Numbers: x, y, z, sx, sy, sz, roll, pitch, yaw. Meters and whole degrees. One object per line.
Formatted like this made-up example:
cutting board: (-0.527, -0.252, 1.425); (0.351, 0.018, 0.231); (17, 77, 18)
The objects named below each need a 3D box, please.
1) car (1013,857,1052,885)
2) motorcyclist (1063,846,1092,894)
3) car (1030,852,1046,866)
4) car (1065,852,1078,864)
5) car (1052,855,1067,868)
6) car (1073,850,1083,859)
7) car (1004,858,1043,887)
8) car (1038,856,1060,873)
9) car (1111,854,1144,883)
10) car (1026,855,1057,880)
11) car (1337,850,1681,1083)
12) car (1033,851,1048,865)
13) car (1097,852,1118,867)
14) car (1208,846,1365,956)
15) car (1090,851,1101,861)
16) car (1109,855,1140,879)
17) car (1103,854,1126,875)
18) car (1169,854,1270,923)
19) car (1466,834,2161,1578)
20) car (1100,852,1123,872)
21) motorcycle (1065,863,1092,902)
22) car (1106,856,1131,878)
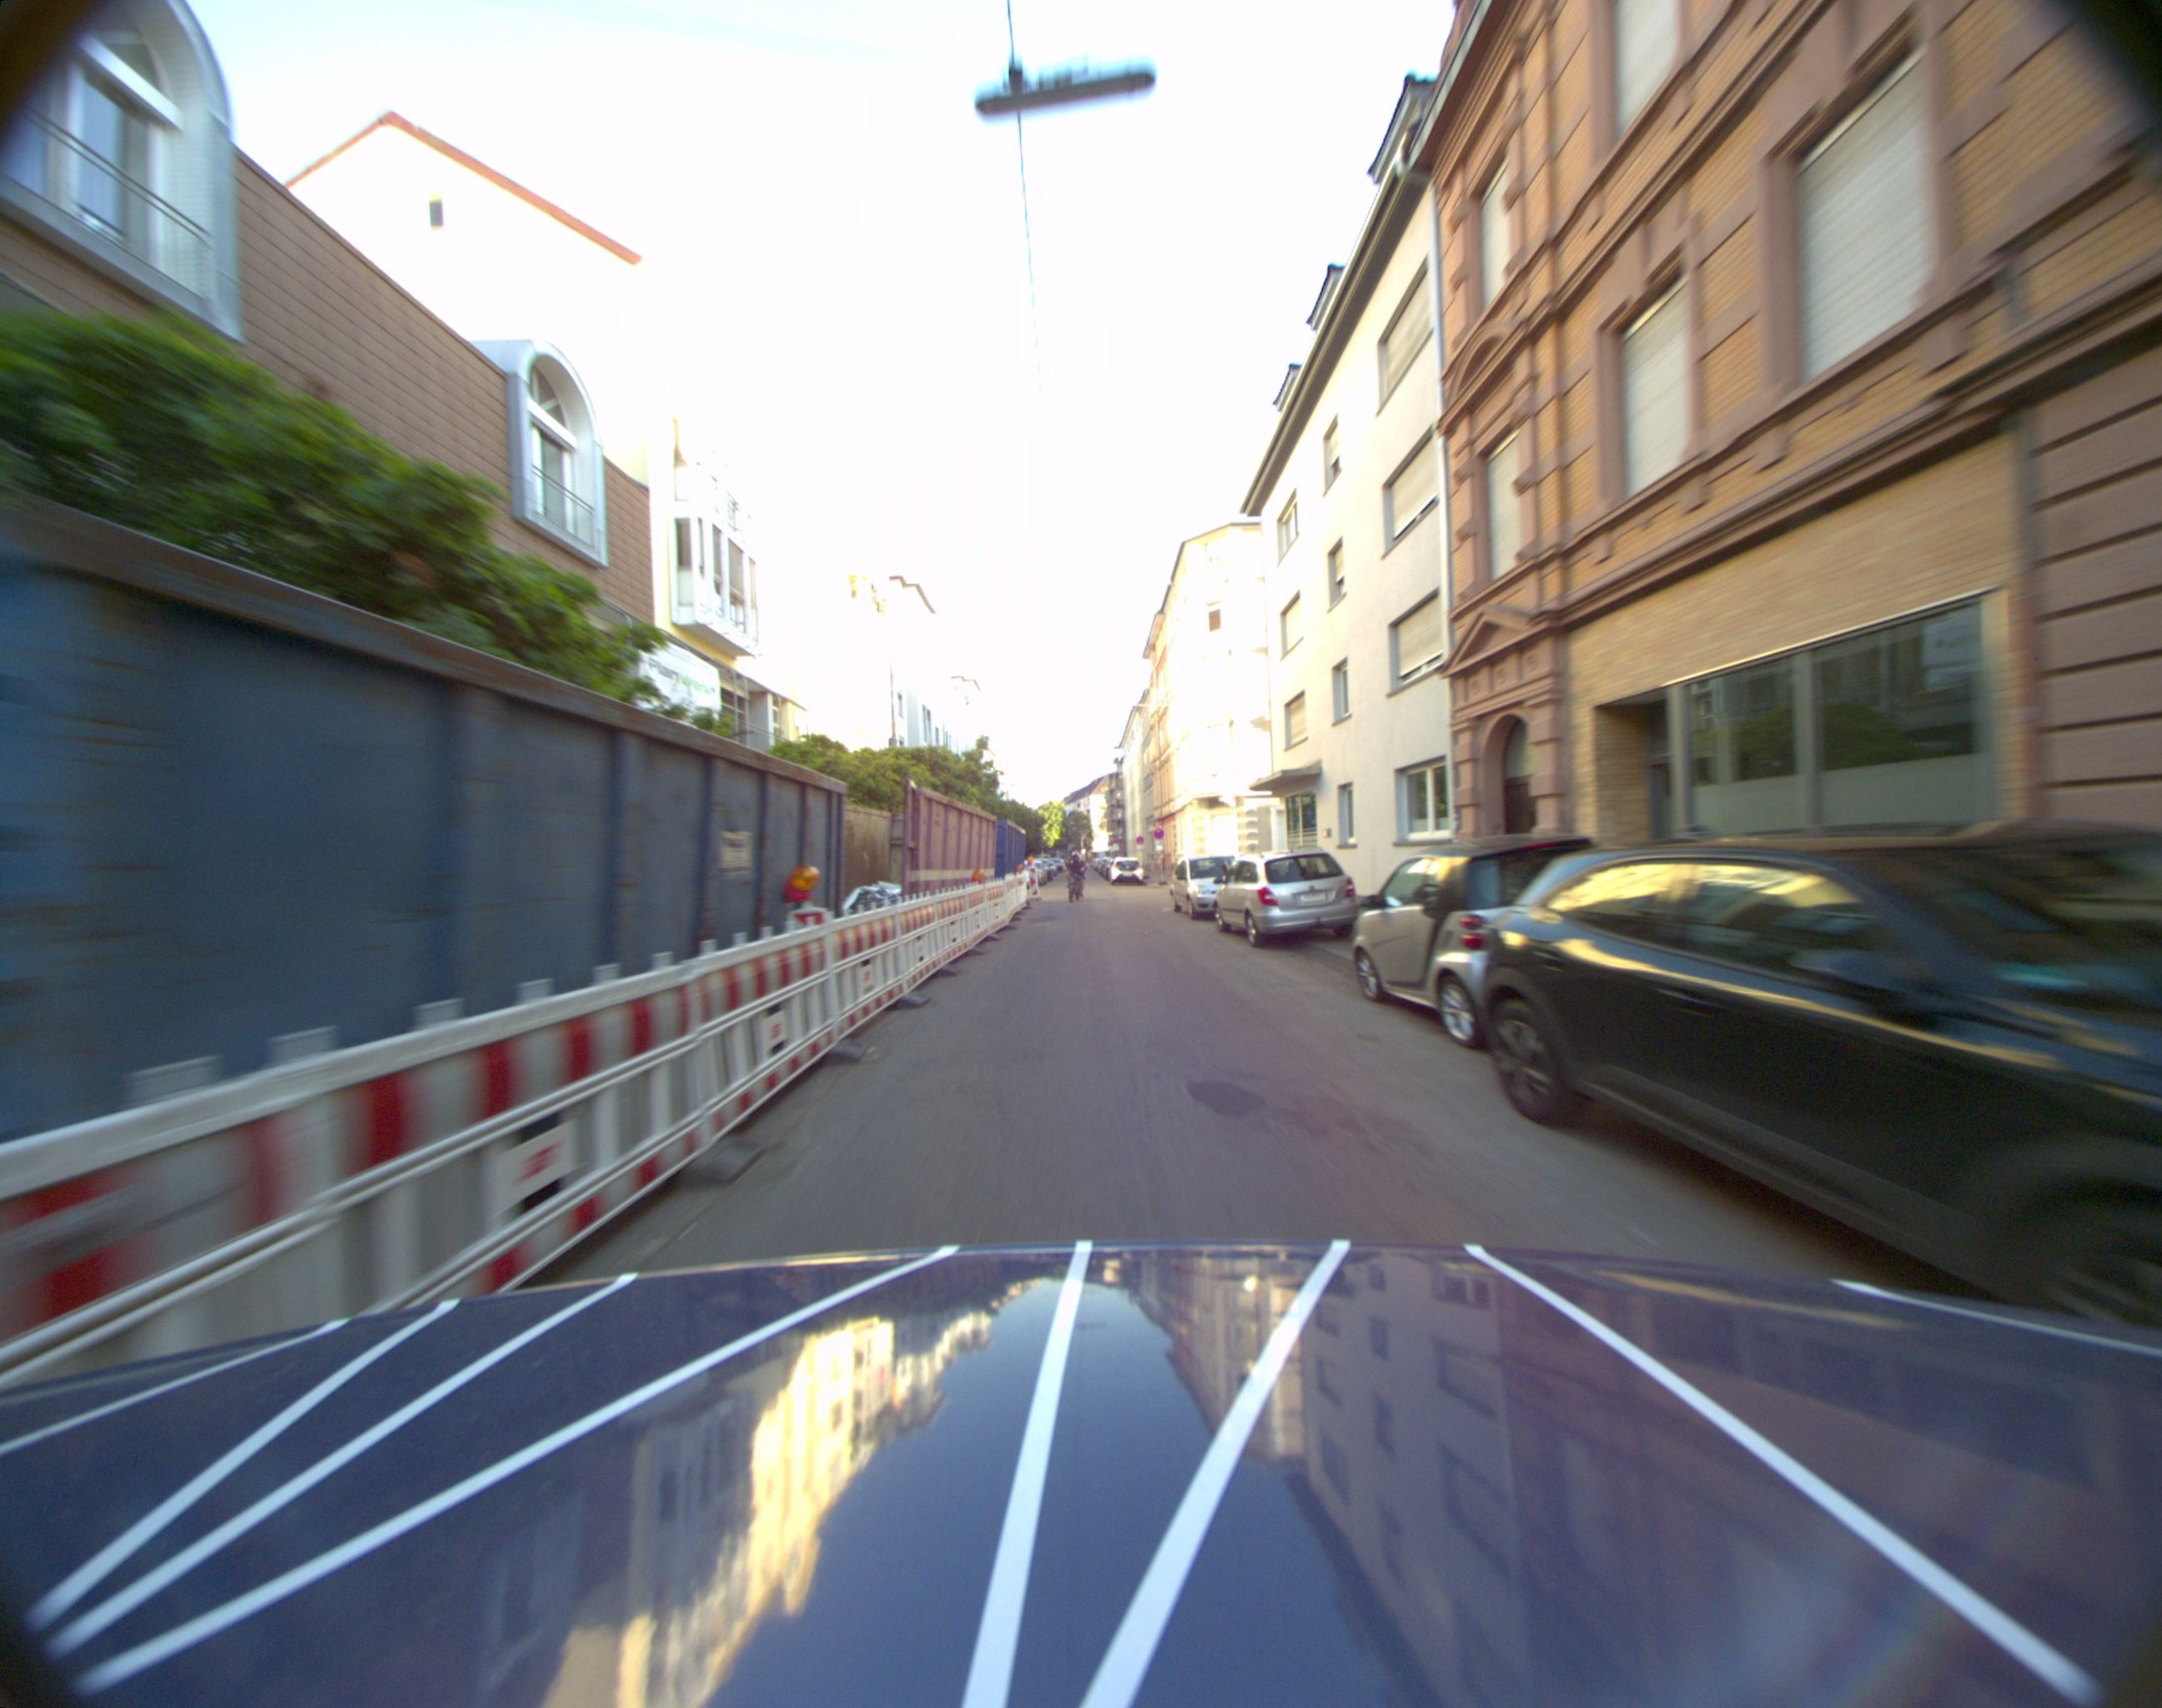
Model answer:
car: (-2.999, 1.011, 47.522); (1.912, 1.576, 4.000); (-3, 0, 3)
motorcyclist: (-0.121, 0.555, 26.188); (0.874, 1.558, 1.000); (-4, -1, -2)
car: (-6.266, 0.739, 111.401); (1.999, 2.002, 3.999); (-3, 0, -1)
car: (-1.590, 0.655, 126.914); (1.998, 1.783, 4.000); (-3, 0, 0)
car: (-2.809, 0.989, 101.676); (1.903, 1.509, 4.223); (-3, 0, -1)
car: (-0.648, 0.099, 172.407); (1.998, 1.783, 4.000); (-3, 0, 0)
car: (-3.199, 1.022, 42.796); (1.638, 1.439, 4.067); (-3, 0, 3)
car: (-3.029, 0.955, 72.727); (1.855, 1.480, 3.999); (-3, 0, -1)
car: (2.573, 0.776, 42.320); (1.688, 1.487, 3.844); (1, 1, 2)
car: (-2.919, 0.946, 56.476); (1.863, 1.679, 4.390); (-3, 0, 2)
car: (3.436, 0.773, 6.654); (1.399, 1.579, 2.793); (-2, 0, 0)
car: (-6.178, 0.657, 115.890); (1.999, 2.002, 3.999); (-3, 0, -1)
car: (2.949, 0.598, 84.822); (1.999, 1.576, 4.493); (-3, 0, -1)
car: (3.349, 0.697, 13.044); (1.559, 1.500, 3.597); (-5, 0, -1)
car: (2.660, 0.365, 142.279); (1.998, 1.783, 4.000); (-3, 0, 0)
car: (2.659, 0.767, 47.282); (1.614, 1.420, 3.961); (0, 0, -1)
car: (2.567, 0.784, 58.840); (1.537, 1.490, 4.195); (-1, 0, -1)
car: (3.221, 0.748, 18.275); (1.636, 1.421, 3.554); (-3, 0, -1)
car: (3.214, 0.763, 2.532); (1.744, 1.590, 4.014); (-3, 0, -1)
car: (2.522, 0.663, 63.849); (1.597, 1.513, 4.429); (-3, 0, 0)
motorcycle: (-0.094, 0.983, 26.049); (0.806, 1.242, 1.698); (-4, -1, -2)
car: (2.571, 0.890, 52.710); (1.589, 1.407, 3.912); (1, 0, 0)
